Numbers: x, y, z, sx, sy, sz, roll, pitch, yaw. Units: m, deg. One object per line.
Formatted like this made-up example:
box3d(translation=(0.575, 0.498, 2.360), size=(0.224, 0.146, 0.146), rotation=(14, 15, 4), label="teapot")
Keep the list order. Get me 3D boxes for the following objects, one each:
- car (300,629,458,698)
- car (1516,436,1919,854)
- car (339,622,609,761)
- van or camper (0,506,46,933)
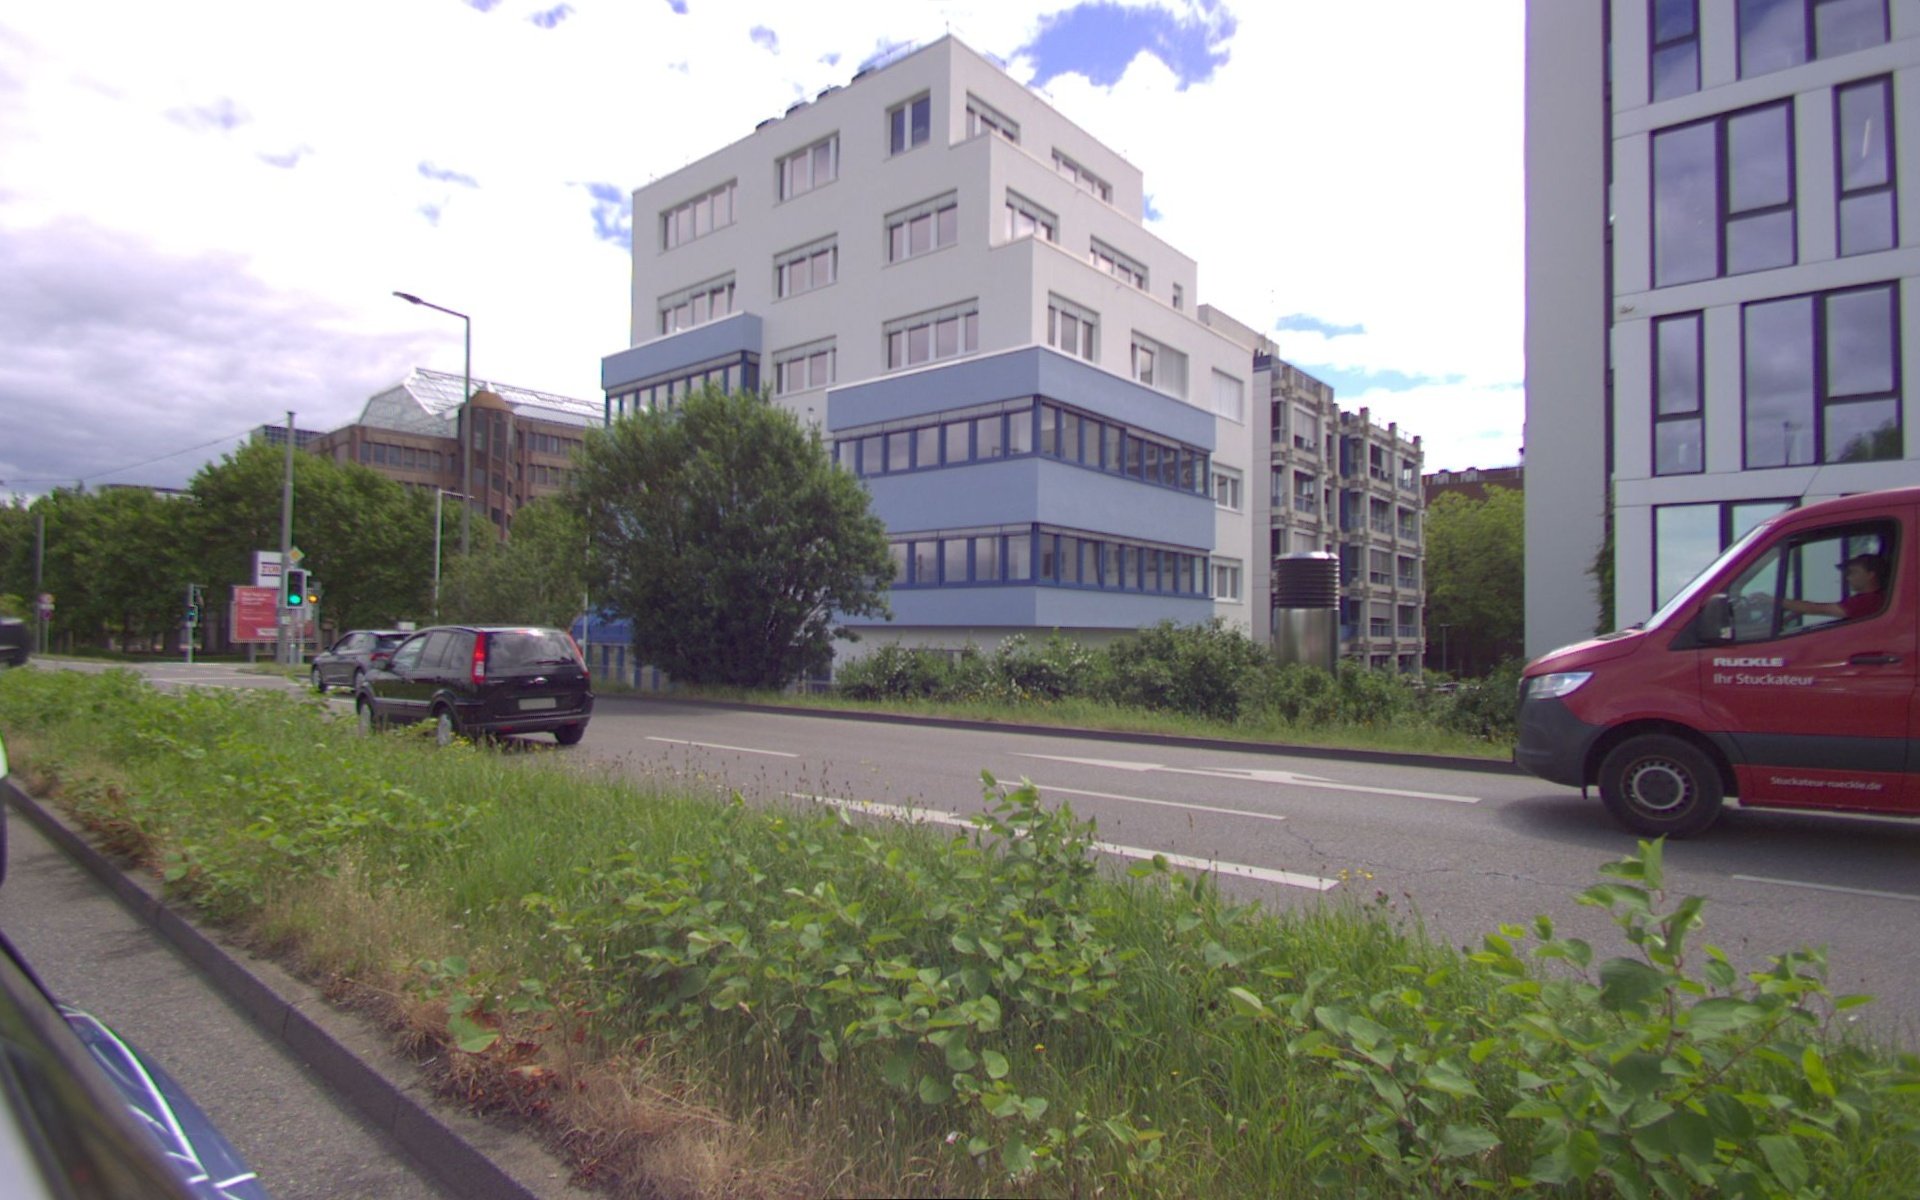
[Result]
box3d(translation=(-13.262, 1.378, 23.035), size=(3.997, 1.409, 1.913), rotation=(-2, -2, 41), label="car")
box3d(translation=(6.625, 0.271, 6.308), size=(5.238, 2.430, 1.973), rotation=(-1, -2, 41), label="car")
box3d(translation=(-6.282, 1.050, 12.895), size=(3.998, 1.494, 1.661), rotation=(-2, -2, 41), label="car")
box3d(translation=(-7.354, 0.599, 5.938), size=(5.791, 2.029, 1.974), rotation=(-2, -3, 38), label="van or camper")
